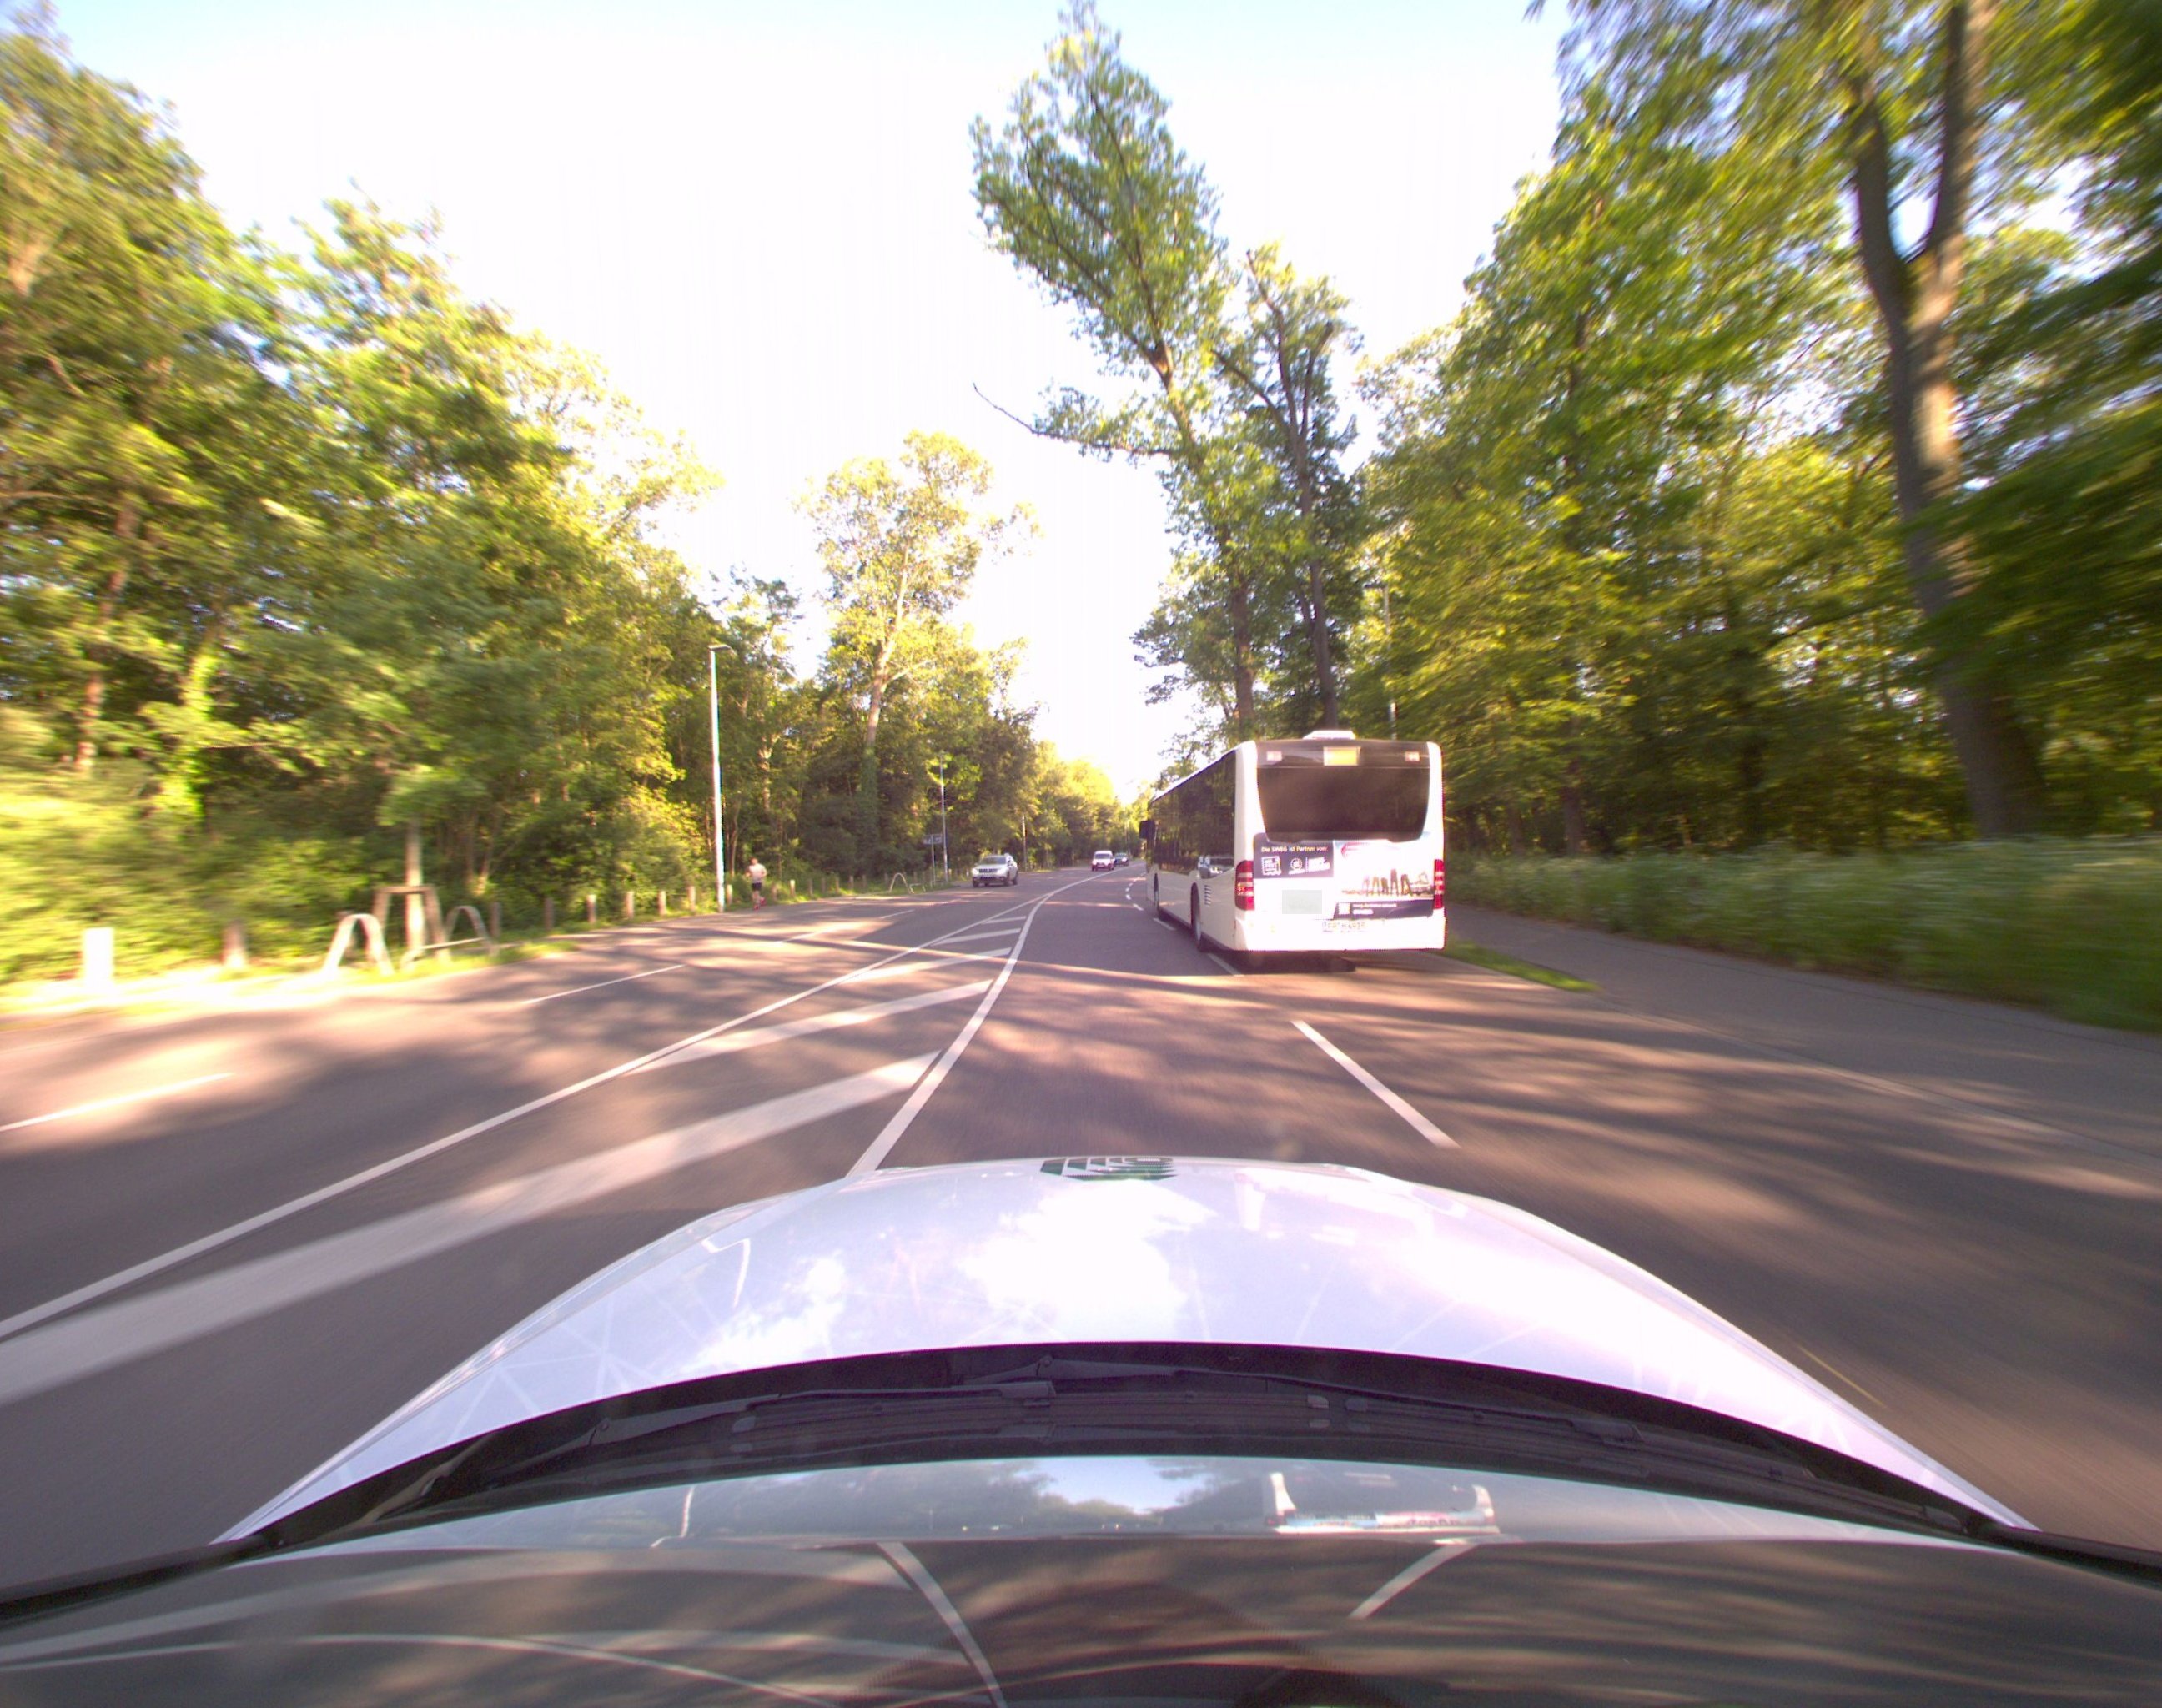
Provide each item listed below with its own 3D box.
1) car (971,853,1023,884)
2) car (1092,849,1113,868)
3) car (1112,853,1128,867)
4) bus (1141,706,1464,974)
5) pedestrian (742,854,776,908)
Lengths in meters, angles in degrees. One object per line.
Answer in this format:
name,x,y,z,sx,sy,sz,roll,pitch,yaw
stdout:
car,-4.313,0.739,42.412,1.854,1.537,4.138,-1,-1,6
car,1.979,0.415,74.808,1.855,1.729,4.003,-1,-1,3
car,4.676,0.715,97.928,1.855,1.565,4.004,-1,-1,4
bus,3.000,-0.108,15.387,2.681,3.042,12.036,-1,-1,-1
pedestrian,-10.990,0.901,27.830,0.776,1.812,0.770,-2,0,1
